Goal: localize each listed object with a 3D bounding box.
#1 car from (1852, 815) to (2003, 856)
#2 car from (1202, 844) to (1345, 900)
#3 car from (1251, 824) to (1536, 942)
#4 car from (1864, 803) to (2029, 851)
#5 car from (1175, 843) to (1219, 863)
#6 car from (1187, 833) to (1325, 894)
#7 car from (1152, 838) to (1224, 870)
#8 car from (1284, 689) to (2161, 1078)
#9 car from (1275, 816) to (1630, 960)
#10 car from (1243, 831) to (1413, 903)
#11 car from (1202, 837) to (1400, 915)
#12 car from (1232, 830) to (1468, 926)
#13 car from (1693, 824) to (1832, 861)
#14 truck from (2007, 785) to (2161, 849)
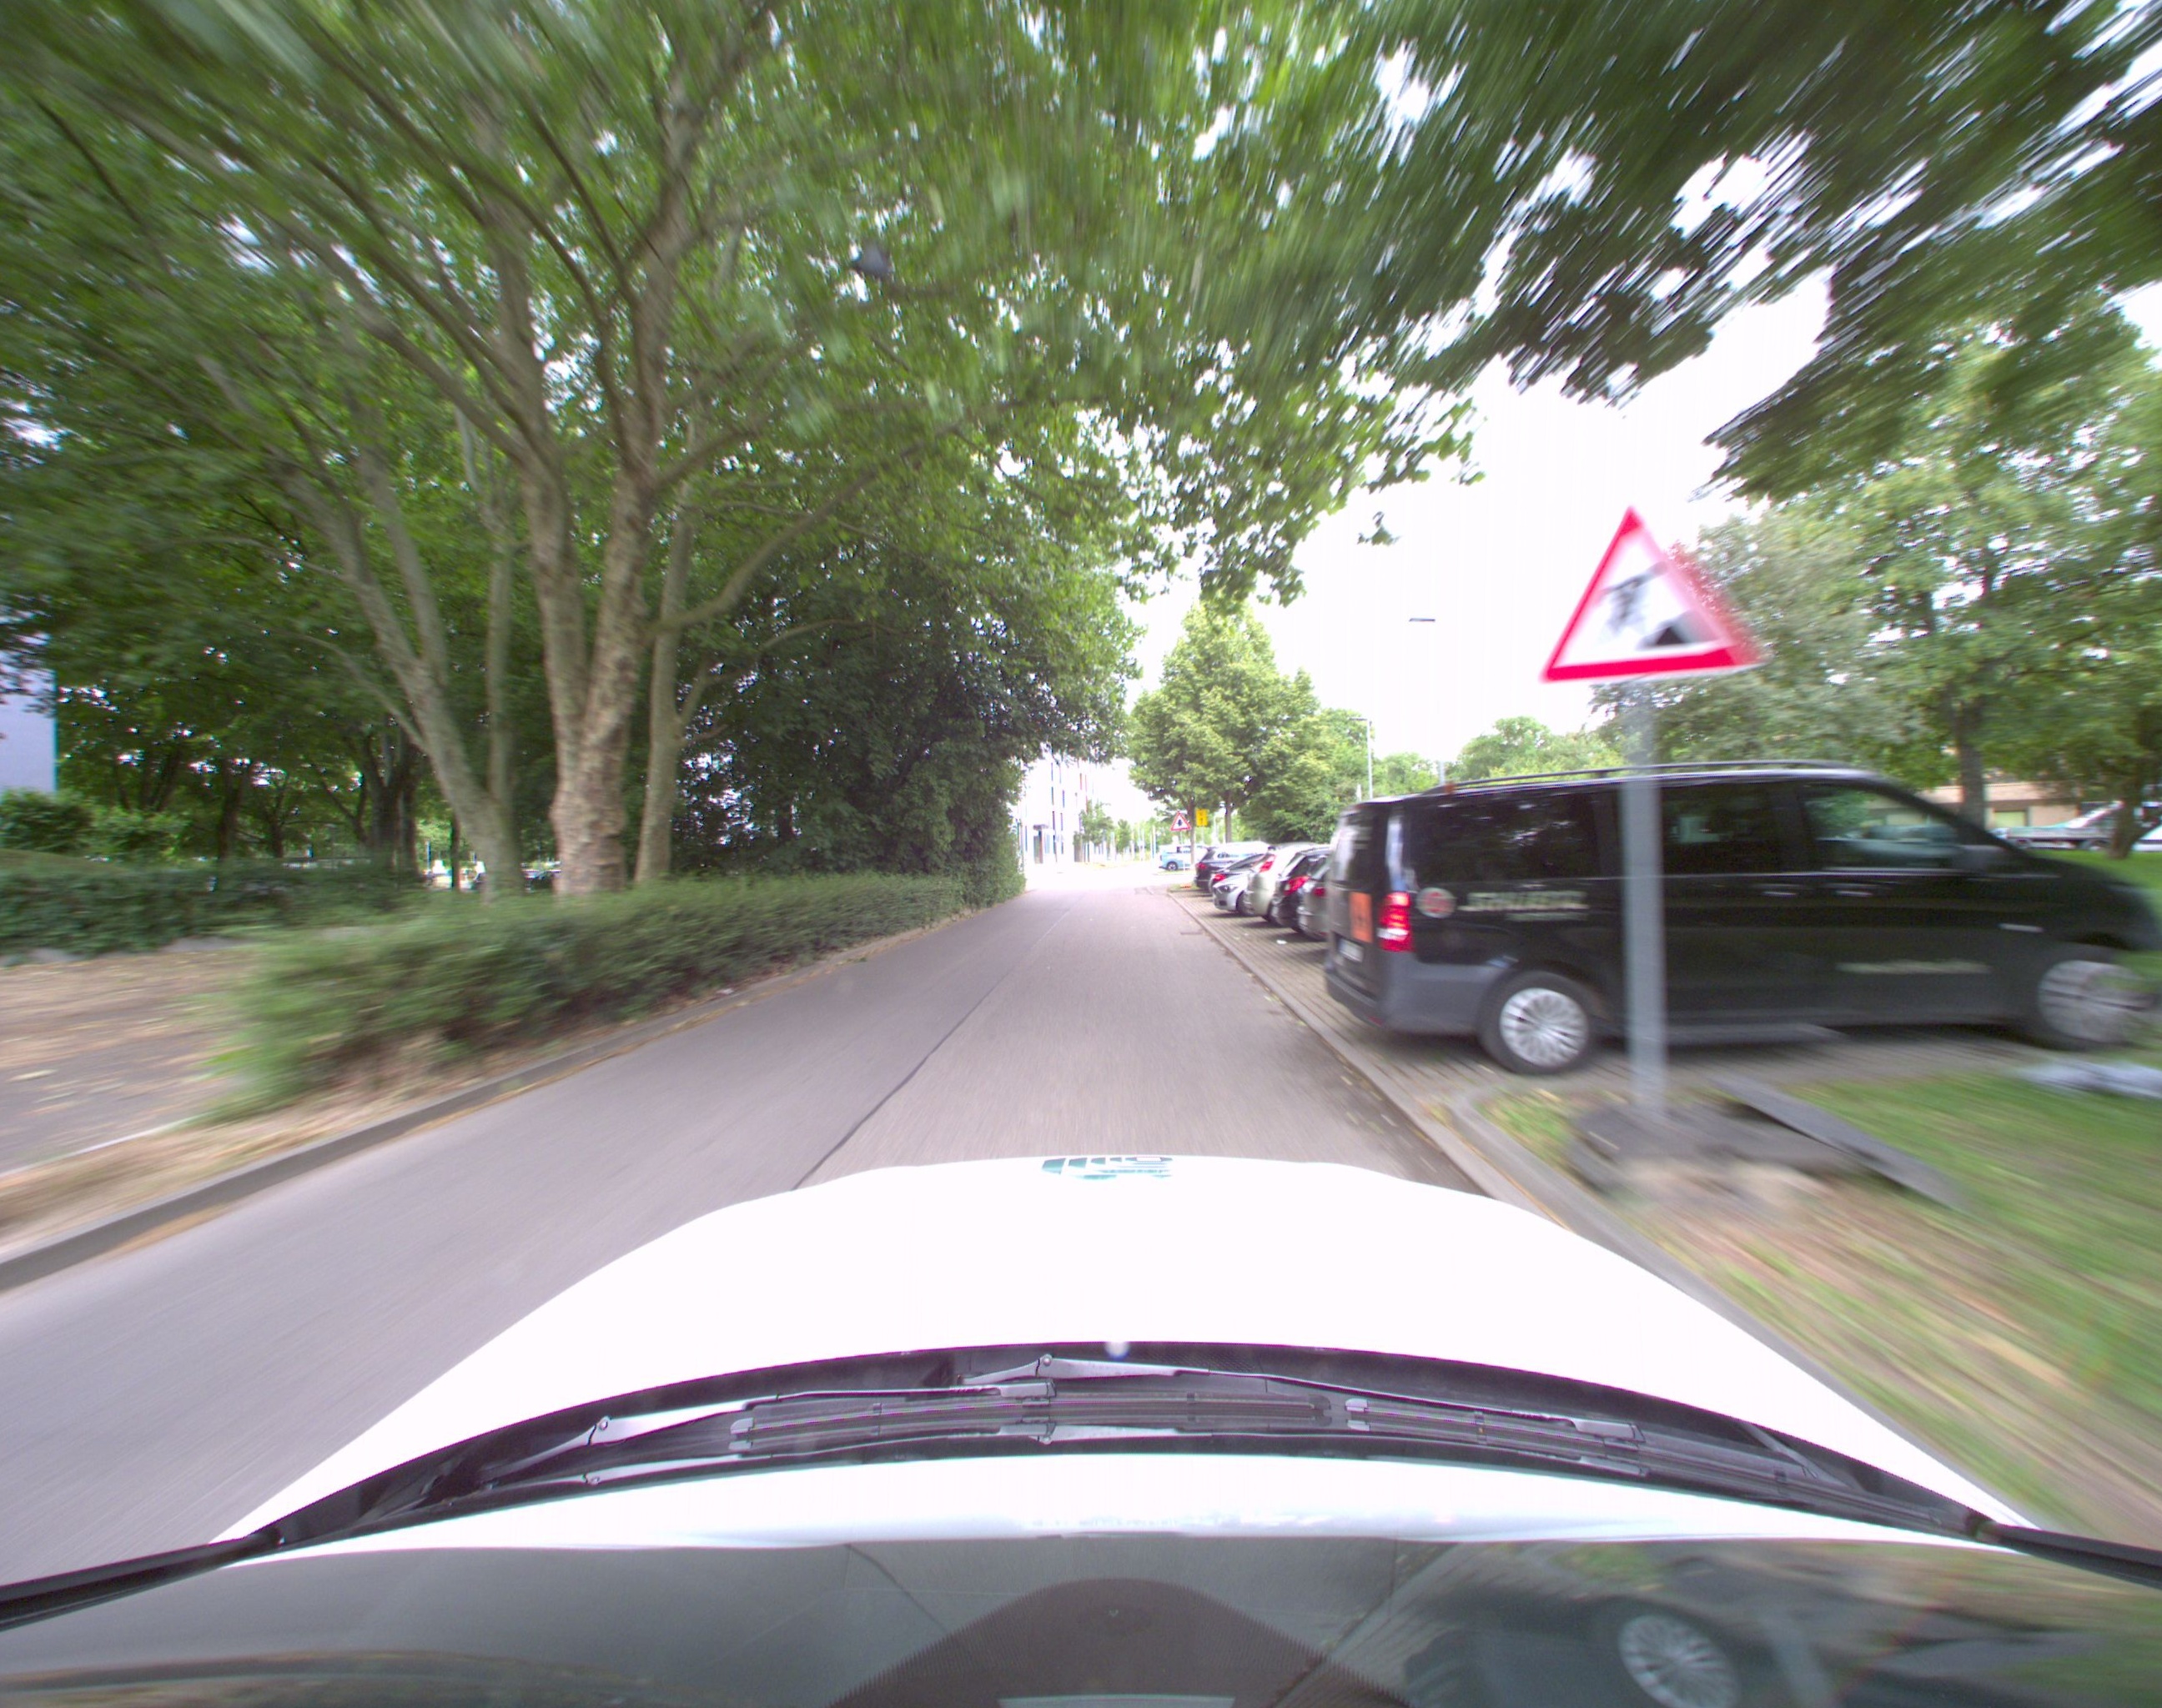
[{"bbox_3d":[35.996,-0.773,34.741,4.257,1.526,1.708,-2,-1,9],"label":"car"},{"bbox_3d":[5.510,0.514,23.769,3.812,1.358,1.825,-4,-1,6],"label":"car"},{"bbox_3d":[4.916,0.452,13.291,3.942,1.511,1.766,-4,0,5],"label":"car"},{"bbox_3d":[42.062,-1.278,39.705,5.287,2.057,2.143,-2,0,9],"label":"car"},{"bbox_3d":[11.715,-0.068,82.314,4.354,1.904,1.941,-1,0,7],"label":"car"},{"bbox_3d":[5.566,0.320,26.385,4.102,1.650,1.983,-4,-1,6],"label":"car"},{"bbox_3d":[7.731,0.015,59.084,4.950,1.972,1.849,-4,0,4],"label":"car"},{"bbox_3d":[4.251,0.202,6.015,4.932,2.013,2.168,-4,0,4],"label":"car"},{"bbox_3d":[4.817,0.432,11.051,3.943,1.511,1.795,-4,0,4],"label":"car"},{"bbox_3d":[6.293,0.336,21.119,3.817,1.558,1.820,-4,-1,2],"label":"car"},{"bbox_3d":[4.876,0.484,18.505,3.971,1.430,1.937,-4,-1,2],"label":"car"},{"bbox_3d":[5.101,0.455,15.888,3.970,1.528,1.812,-4,-1,3],"label":"car"},{"bbox_3d":[29.823,-0.486,35.763,4.401,1.428,1.708,-2,-1,9],"label":"car"},{"bbox_3d":[42.728,-1.529,33.819,5.473,2.426,2.198,-2,-1,9],"label":"truck"}]
